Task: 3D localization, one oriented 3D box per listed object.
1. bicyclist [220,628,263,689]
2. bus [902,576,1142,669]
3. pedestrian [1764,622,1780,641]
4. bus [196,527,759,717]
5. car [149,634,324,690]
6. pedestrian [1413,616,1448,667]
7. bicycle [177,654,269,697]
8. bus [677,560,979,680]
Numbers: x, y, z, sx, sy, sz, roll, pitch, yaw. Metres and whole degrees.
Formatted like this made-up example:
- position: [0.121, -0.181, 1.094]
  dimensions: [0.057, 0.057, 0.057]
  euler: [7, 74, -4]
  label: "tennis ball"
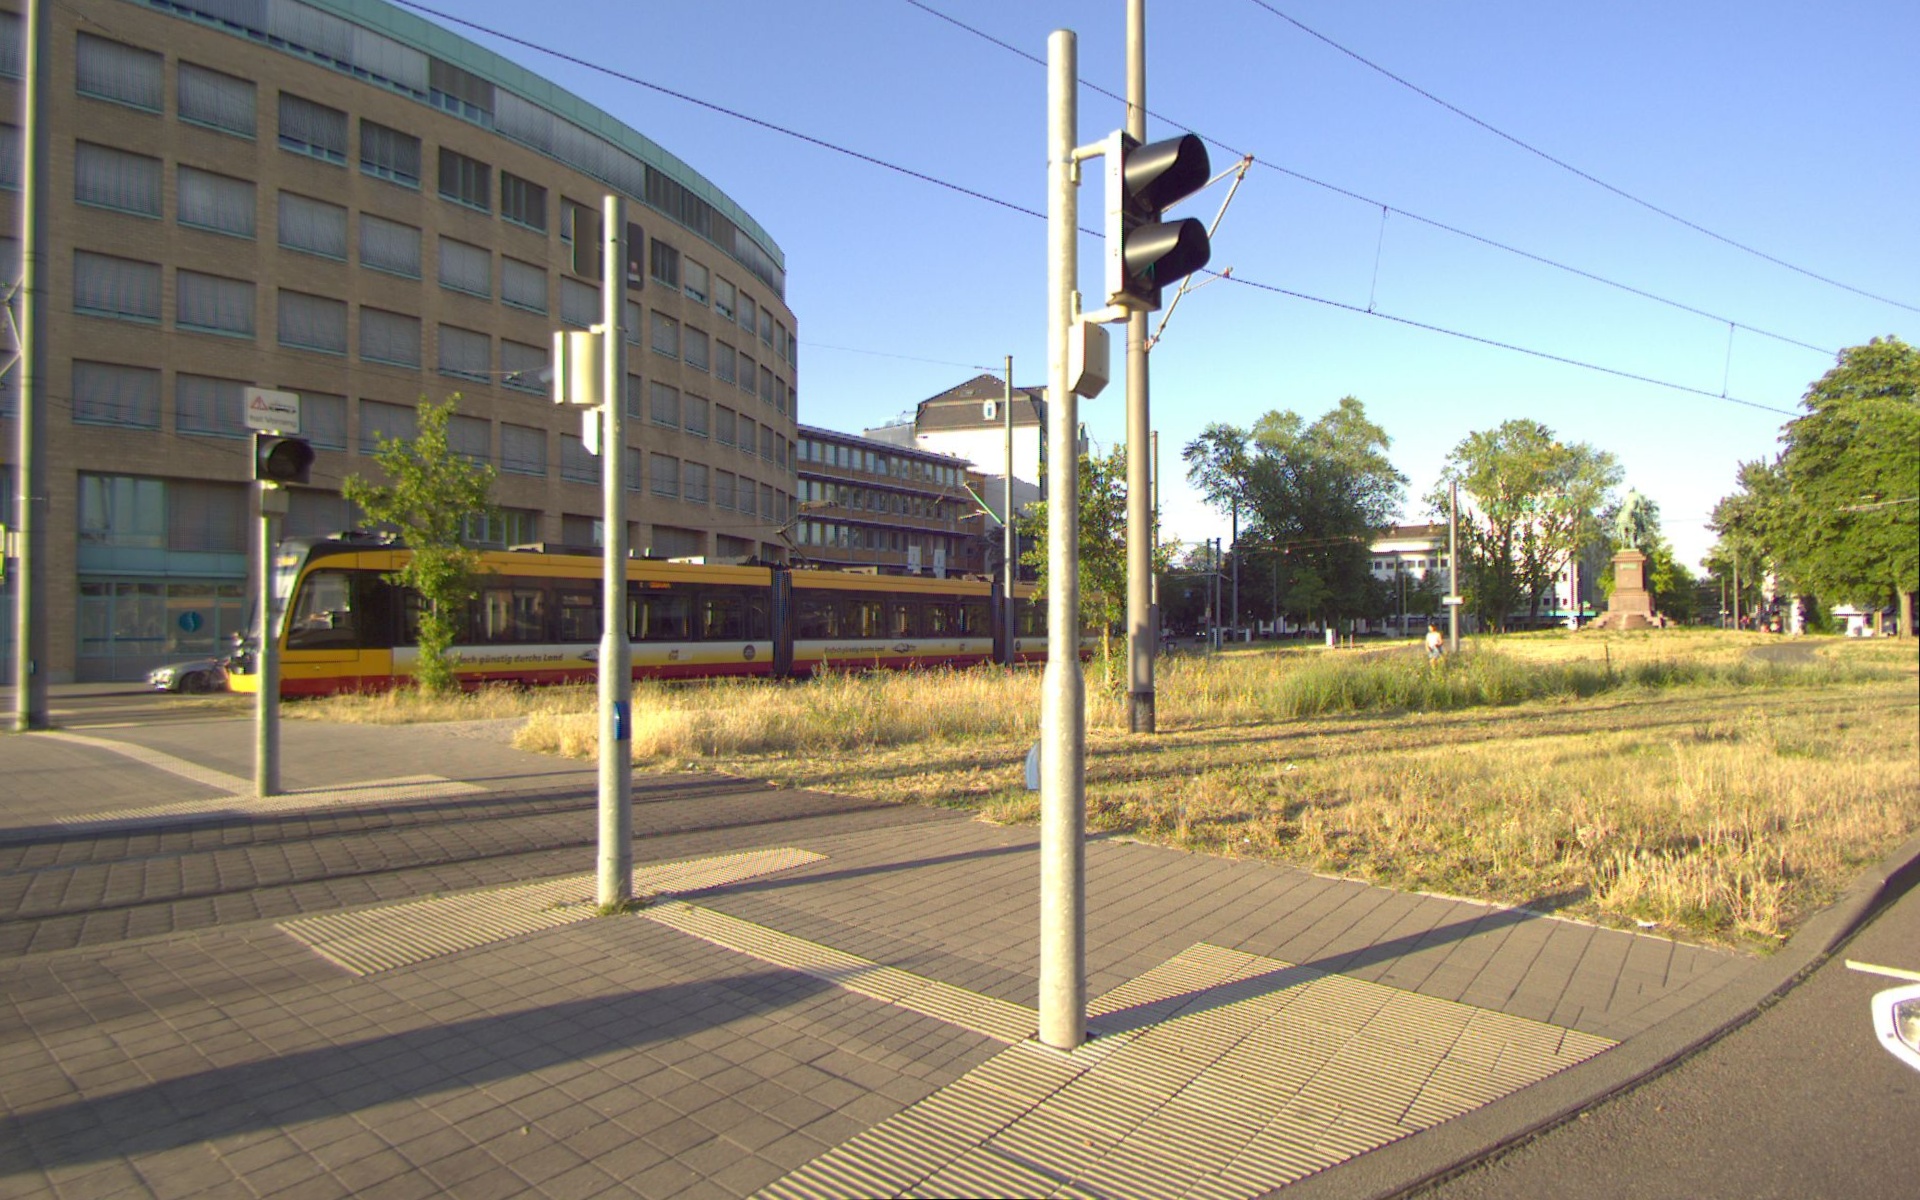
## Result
- position: [-20.476, 1.649, 28.629]
  dimensions: [0.823, 1.683, 0.790]
  euler: [0, 0, 37]
  label: "bicyclist"
- position: [3.220, 0.912, 43.487]
  dimensions: [3.699, 3.407, 13.666]
  euler: [0, -1, 36]
  label: "bus"
- position: [79.882, 3.100, 98.820]
  dimensions: [0.984, 1.864, 0.858]
  euler: [-2, 1, -28]
  label: "pedestrian"
- position: [-10.722, 0.469, 24.487]
  dimensions: [3.701, 3.501, 12.085]
  euler: [0, -1, 37]
  label: "bus"
- position: [-22.067, 1.864, 30.726]
  dimensions: [1.971, 1.575, 3.980]
  euler: [0, -2, 41]
  label: "car"
- position: [13.887, 1.221, 29.643]
  dimensions: [0.692, 1.478, 0.666]
  euler: [0, 0, -32]
  label: "pedestrian"
- position: [-20.730, 2.097, 28.280]
  dimensions: [0.432, 1.081, 2.060]
  euler: [0, 0, 37]
  label: "bicycle"
- position: [-3.925, 0.618, 33.626]
  dimensions: [3.700, 3.375, 10.697]
  euler: [0, -1, 36]
  label: "bus"
